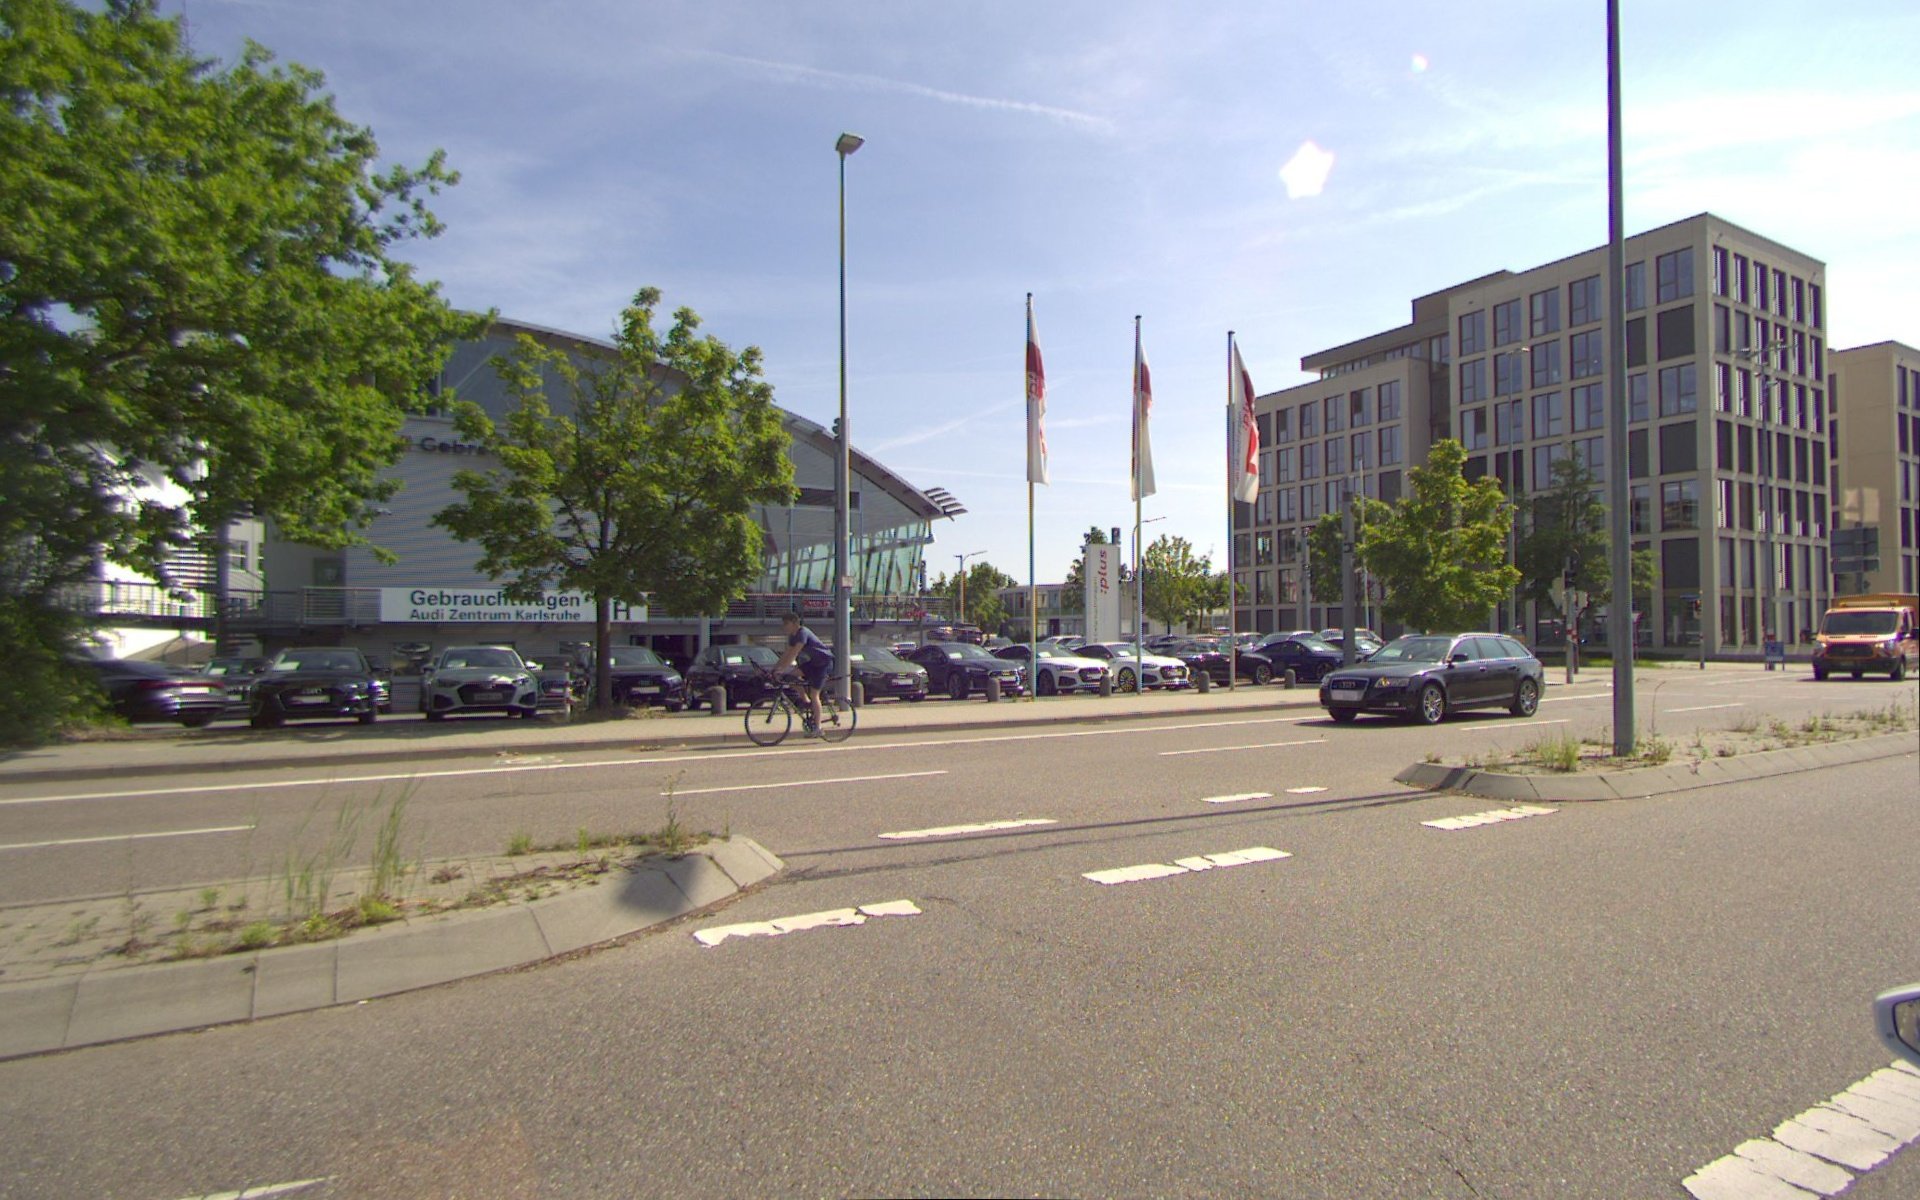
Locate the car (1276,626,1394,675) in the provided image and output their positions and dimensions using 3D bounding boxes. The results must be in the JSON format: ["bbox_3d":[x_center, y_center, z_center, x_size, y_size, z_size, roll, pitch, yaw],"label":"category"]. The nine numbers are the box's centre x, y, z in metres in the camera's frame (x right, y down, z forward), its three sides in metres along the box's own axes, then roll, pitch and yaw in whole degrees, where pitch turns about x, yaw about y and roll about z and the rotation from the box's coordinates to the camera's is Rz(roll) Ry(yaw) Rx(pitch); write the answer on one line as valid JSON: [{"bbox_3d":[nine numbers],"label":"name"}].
[{"bbox_3d":[14.649,1.936,39.173,4.540,1.635,1.805,-2,-1,-30],"label":"car"}]

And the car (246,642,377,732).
[{"bbox_3d":[-11.653,1.567,18.245,1.788,1.420,4.006,1,-5,-31],"label":"car"}]

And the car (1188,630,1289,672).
[{"bbox_3d":[12.240,2.215,44.092,4.325,1.564,1.779,-2,-1,-31],"label":"car"}]

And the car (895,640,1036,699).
[{"bbox_3d":[0.044,1.759,25.063,1.815,1.336,3.972,1,-5,-29],"label":"car"}]

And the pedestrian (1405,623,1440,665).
[{"bbox_3d":[19.658,1.861,42.673,0.906,1.772,0.996,1,-2,-30],"label":"pedestrian"}]

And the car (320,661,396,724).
[{"bbox_3d":[-16.640,2.500,27.791,1.671,1.492,3.798,1,-2,-31],"label":"car"}]

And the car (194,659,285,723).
[{"bbox_3d":[-18.946,2.341,26.535,1.671,1.456,3.797,1,-2,-32],"label":"car"}]

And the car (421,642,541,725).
[{"bbox_3d":[-9.394,1.621,19.527,1.781,1.412,4.198,1,-5,-30],"label":"car"}]

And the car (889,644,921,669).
[{"bbox_3d":[-3.256,3.367,60.249,1.762,1.461,4.028,0,-2,-1],"label":"car"}]

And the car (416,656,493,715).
[{"bbox_3d":[-14.637,2.410,29.010,1.783,1.492,3.800,1,-2,-30],"label":"car"}]

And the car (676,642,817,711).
[{"bbox_3d":[-4.856,1.718,22.393,1.809,1.372,4.261,1,-5,-31],"label":"car"}]

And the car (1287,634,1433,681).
[{"bbox_3d":[13.208,1.886,33.414,1.876,1.451,4.356,1,-3,-28],"label":"car"}]

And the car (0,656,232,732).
[{"bbox_3d":[-16.401,1.786,19.328,3.762,1.350,1.691,-1,-2,8],"label":"car"}]

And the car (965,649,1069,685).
[{"bbox_3d":[2.351,2.720,41.195,4.018,1.396,1.779,1,-3,-31],"label":"car"}]

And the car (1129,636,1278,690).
[{"bbox_3d":[7.396,1.861,30.358,4.373,1.515,1.789,1,-2,-30],"label":"car"}]

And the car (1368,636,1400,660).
[{"bbox_3d":[28.842,3.281,68.417,1.772,1.533,4.000,-1,-2,19],"label":"car"}]

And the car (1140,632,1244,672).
[{"bbox_3d":[10.650,2.365,46.082,4.722,1.525,1.779,-2,-1,-31],"label":"car"}]

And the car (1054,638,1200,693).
[{"bbox_3d":[4.538,1.848,27.883,1.856,1.387,4.055,1,-5,-30],"label":"car"}]

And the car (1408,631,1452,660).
[{"bbox_3d":[30.677,2.941,65.731,1.860,1.845,4.816,-1,-2,16],"label":"car"}]

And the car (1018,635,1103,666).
[{"bbox_3d":[5.590,2.771,55.673,4.506,1.461,1.779,-1,-2,-31],"label":"car"}]

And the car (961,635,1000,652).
[{"bbox_3d":[2.398,5.046,116.306,4.189,1.965,1.885,1,-2,-30],"label":"car"}]

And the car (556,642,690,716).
[{"bbox_3d":[-7.119,1.650,20.969,1.814,1.372,4.091,1,-5,-31],"label":"car"}]

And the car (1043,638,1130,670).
[{"bbox_3d":[6.719,2.847,53.195,4.351,1.461,1.779,-2,-1,-31],"label":"car"}]

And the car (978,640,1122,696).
[{"bbox_3d":[2.293,1.822,26.552,1.846,1.336,3.971,1,-5,-30],"label":"car"}]

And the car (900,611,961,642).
[{"bbox_3d":[-2.014,1.775,67.499,2.066,1.932,4.508,5,-4,-31],"label":"car"}]

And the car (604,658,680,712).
[{"bbox_3d":[-10.000,2.596,31.448,1.570,1.492,3.491,1,-2,-30],"label":"car"}]

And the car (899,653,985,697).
[{"bbox_3d":[-0.711,2.723,37.037,1.641,1.492,3.490,1,-2,-31],"label":"car"}]

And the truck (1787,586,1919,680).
[{"bbox_3d":[28.200,1.044,31.108,6.609,2.659,2.359,1,-4,-36],"label":"truck"}]

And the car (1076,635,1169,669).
[{"bbox_3d":[8.254,2.607,50.955,4.578,1.461,1.779,-2,-1,-31],"label":"car"}]

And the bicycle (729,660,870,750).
[{"bbox_3d":[-2.261,1.462,14.246,1.900,1.165,0.569,1,-2,-28],"label":"bicycle"}]

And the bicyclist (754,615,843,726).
[{"bbox_3d":[-2.295,0.977,14.242,1.129,1.502,0.568,1,-2,-28],"label":"bicyclist"}]

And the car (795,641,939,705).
[{"bbox_3d":[-2.309,1.758,23.842,1.833,1.352,4.157,1,-5,-30],"label":"car"}]

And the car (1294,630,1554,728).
[{"bbox_3d":[8.075,1.315,17.374,4.612,1.478,1.837,1,-4,-32],"label":"car"}]

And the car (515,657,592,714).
[{"bbox_3d":[-12.328,2.522,30.332,1.670,1.492,3.643,1,-2,-30],"label":"car"}]

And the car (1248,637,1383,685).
[{"bbox_3d":[11.218,1.905,31.920,1.744,1.421,3.815,1,-3,-31],"label":"car"}]

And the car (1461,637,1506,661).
[{"bbox_3d":[32.551,3.020,62.569,1.772,1.434,4.031,-1,-2,18],"label":"car"}]
